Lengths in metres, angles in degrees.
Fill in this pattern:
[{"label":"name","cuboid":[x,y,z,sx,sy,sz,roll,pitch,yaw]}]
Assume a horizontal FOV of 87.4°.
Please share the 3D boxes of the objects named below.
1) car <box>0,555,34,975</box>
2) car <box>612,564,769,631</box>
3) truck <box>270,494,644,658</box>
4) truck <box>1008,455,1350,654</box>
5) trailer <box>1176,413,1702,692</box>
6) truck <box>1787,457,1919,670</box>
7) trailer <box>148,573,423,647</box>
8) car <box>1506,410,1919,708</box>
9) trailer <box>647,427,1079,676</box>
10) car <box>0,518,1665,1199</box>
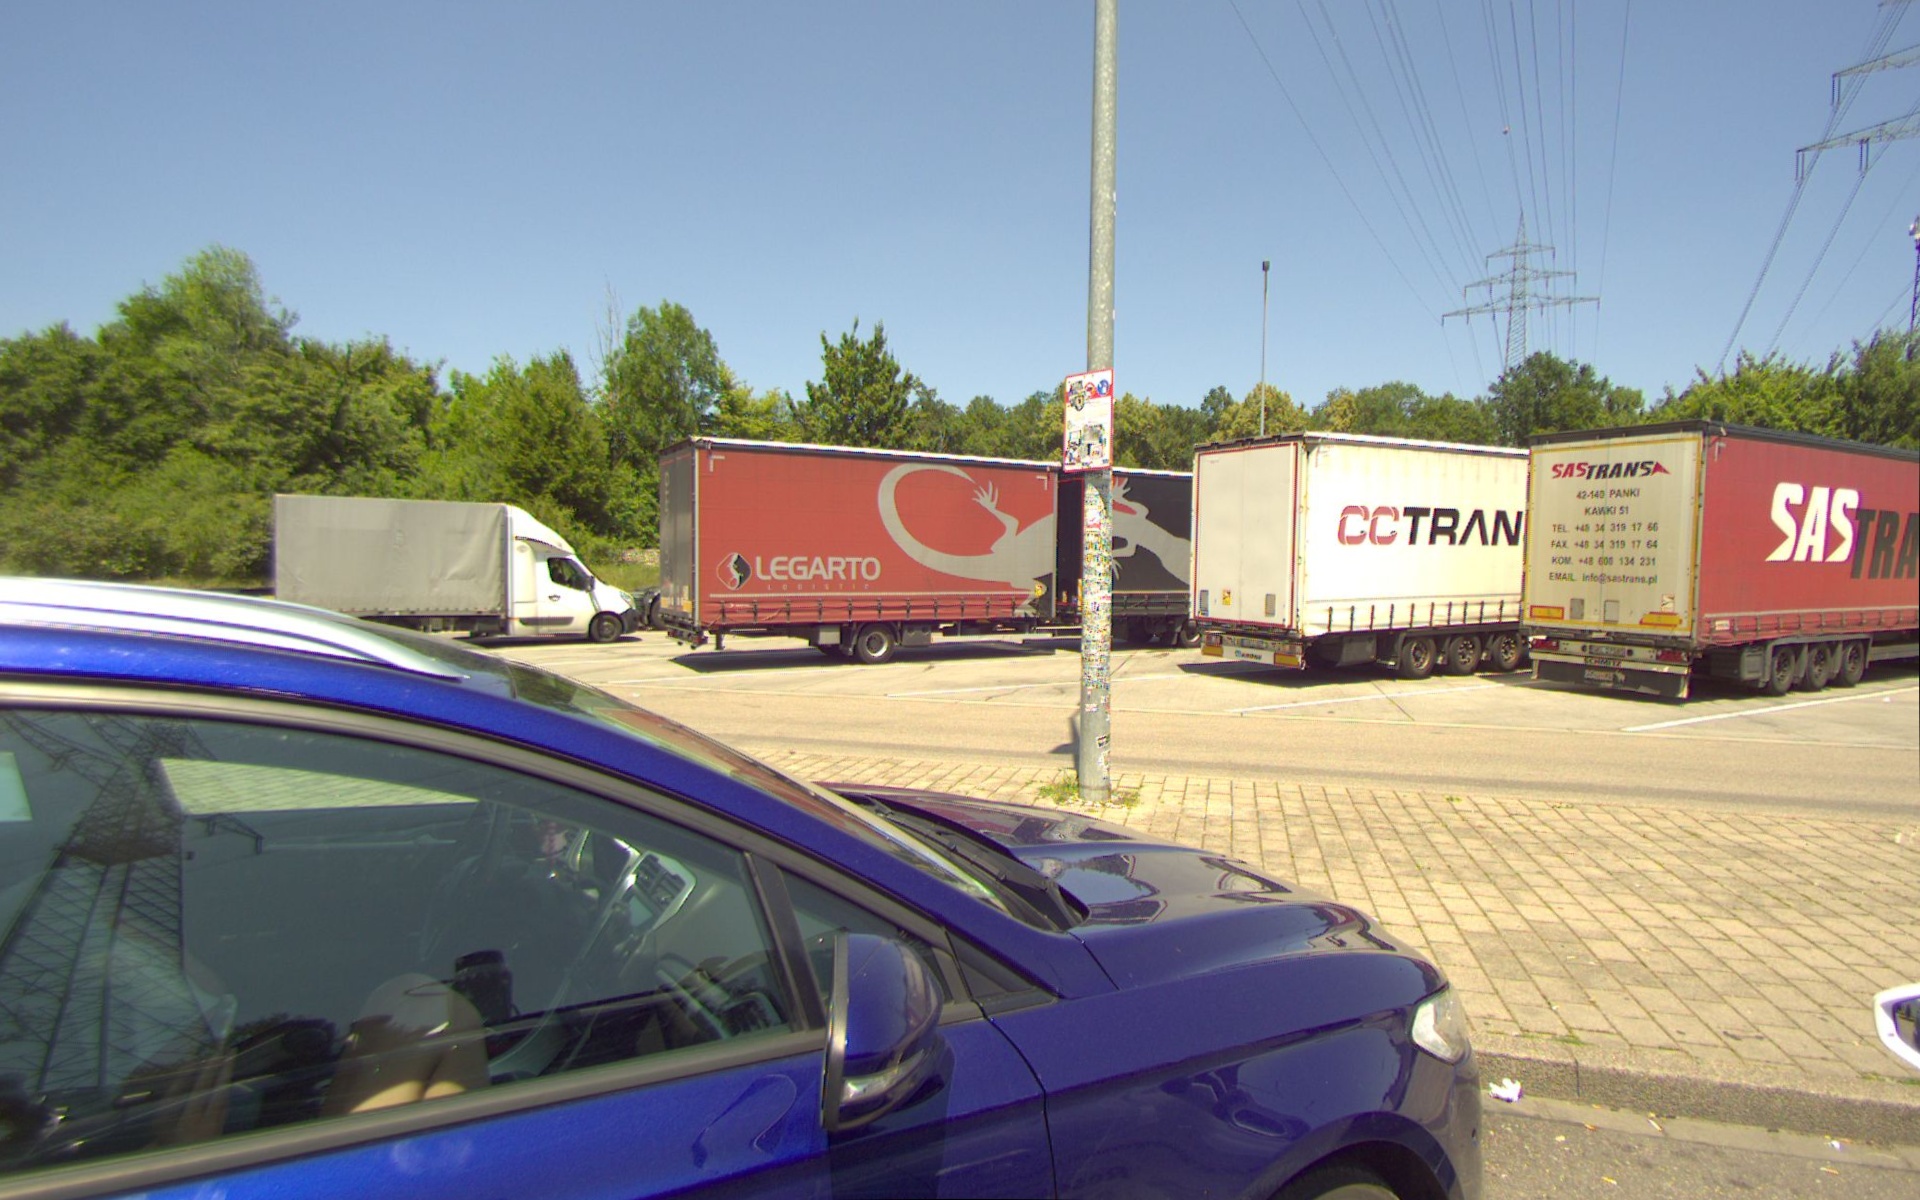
[{"label":"car","cuboid":[-4.645,0.556,2.113,3.700,1.432,1.595,0,0,-32]},{"label":"car","cuboid":[-7.634,-0.054,28.514,3.953,1.773,1.902,0,0,-30]},{"label":"truck","cuboid":[-11.144,-0.592,22.872,7.219,3.277,2.308,-2,3,-29]},{"label":"truck","cuboid":[5.573,-1.081,24.823,8.683,4.248,2.800,-1,2,-30]},{"label":"trailer","cuboid":[10.081,-0.883,20.062,12.786,4.325,2.800,-1,2,-31]},{"label":"truck","cuboid":[21.112,-0.772,21.858,6.163,4.169,2.683,-1,3,-30]},{"label":"trailer","cuboid":[-15.979,0.234,24.179,5.332,1.617,1.585,0,0,-30]},{"label":"car","cuboid":[15.186,-0.692,18.448,12.777,4.169,2.683,-1,3,-30]},{"label":"trailer","cuboid":[-1.774,-0.933,20.501,8.389,4.248,2.800,-1,2,-30]},{"label":"car","cuboid":[-1.019,0.672,1.462,4.380,1.464,1.771,0,0,-32]}]
